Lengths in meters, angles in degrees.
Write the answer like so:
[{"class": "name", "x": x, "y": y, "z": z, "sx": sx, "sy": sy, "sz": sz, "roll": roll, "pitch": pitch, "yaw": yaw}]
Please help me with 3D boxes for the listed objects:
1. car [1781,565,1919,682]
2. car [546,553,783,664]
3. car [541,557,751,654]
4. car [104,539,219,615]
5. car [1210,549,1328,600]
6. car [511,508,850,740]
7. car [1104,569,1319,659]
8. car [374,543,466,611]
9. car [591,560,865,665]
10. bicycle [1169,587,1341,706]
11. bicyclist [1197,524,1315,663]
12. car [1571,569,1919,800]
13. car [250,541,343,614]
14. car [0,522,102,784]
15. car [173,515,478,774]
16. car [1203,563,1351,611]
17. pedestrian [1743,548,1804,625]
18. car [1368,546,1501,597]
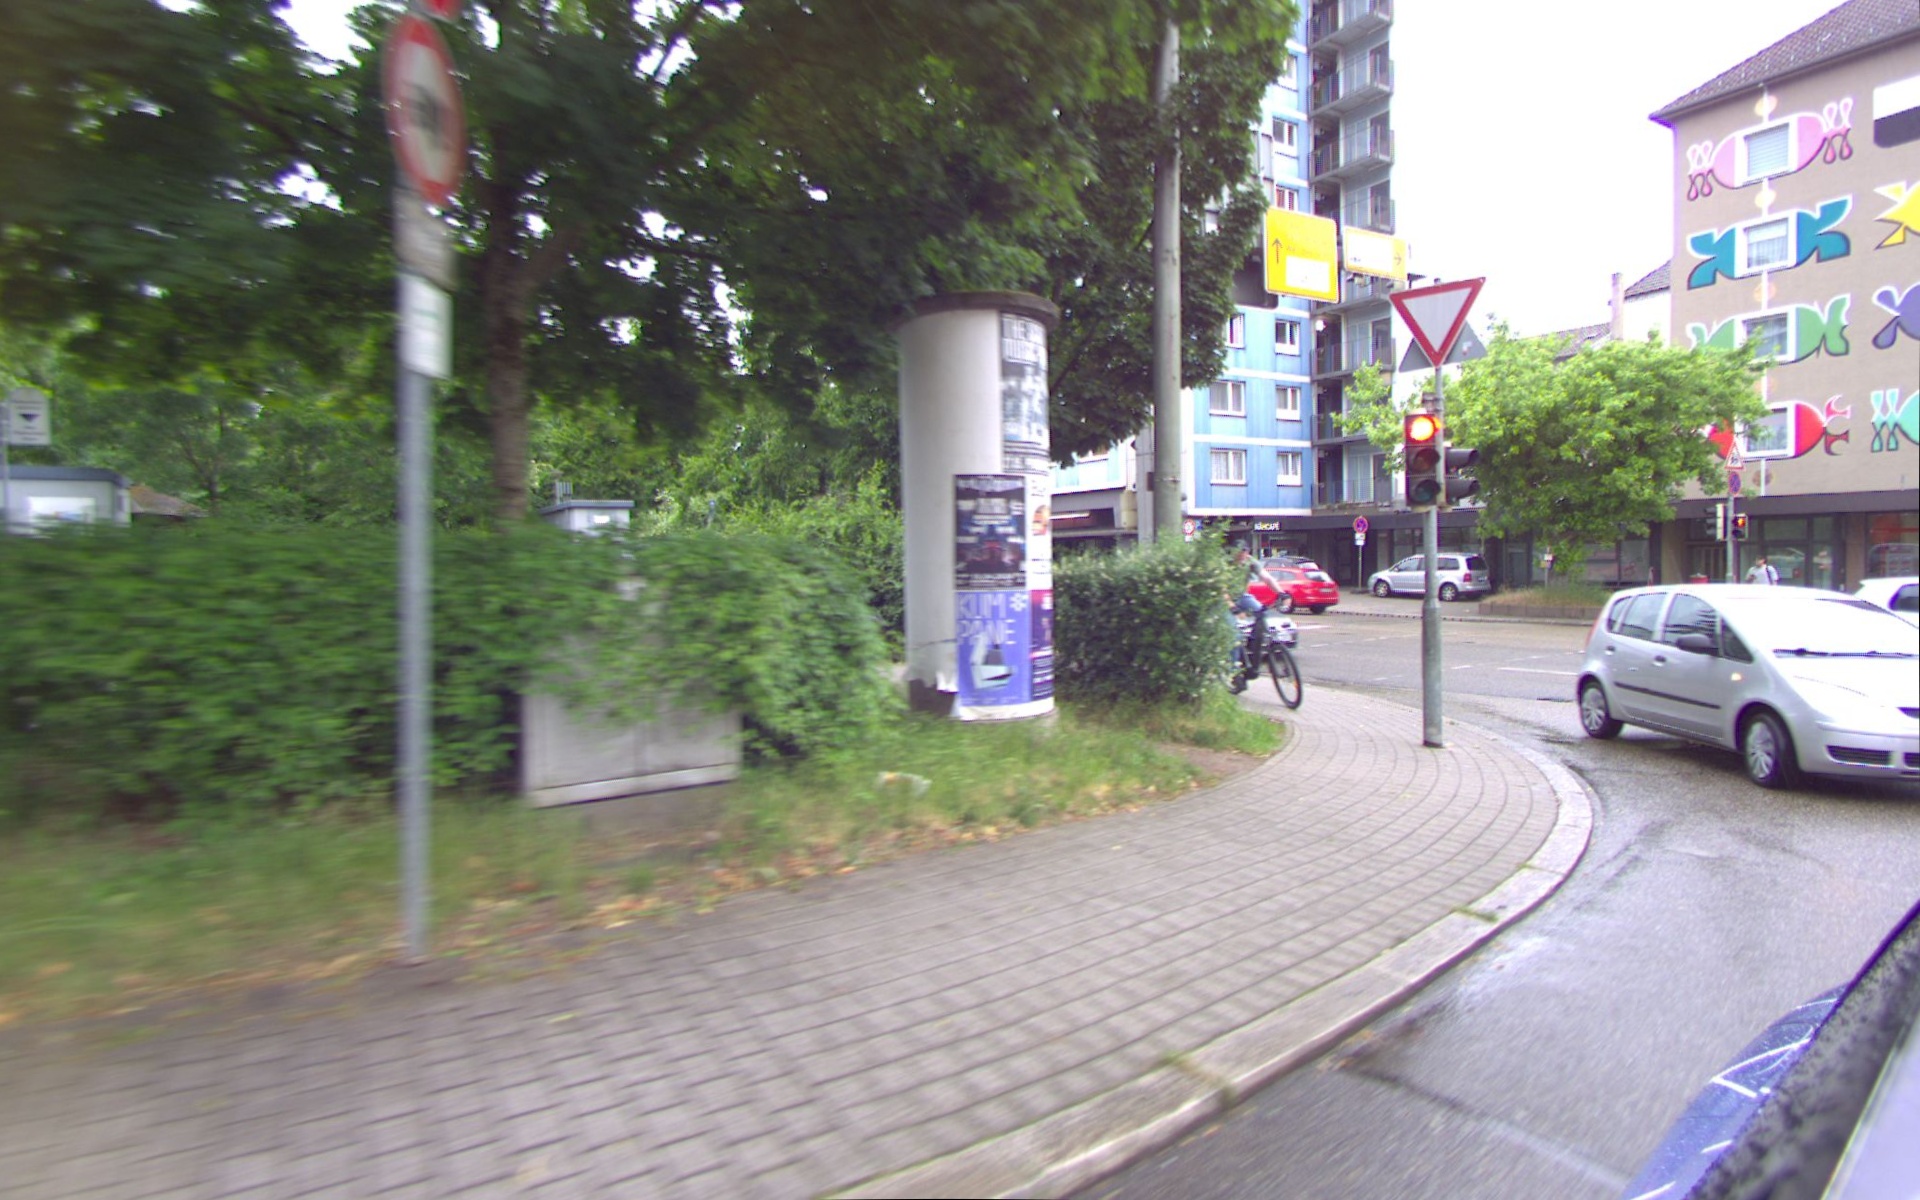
[{"class": "car", "x": 13.255, "y": 0.310, "z": 12.876, "sx": 1.655, "sy": 1.442, "sz": 4.040, "roll": -3, "pitch": 3, "yaw": -32}, {"class": "car", "x": -5.038, "y": 0.092, "z": 17.328, "sx": 3.628, "sy": 1.717, "sz": 1.639, "roll": -1, "pitch": 1, "yaw": -30}, {"class": "car", "x": -6.054, "y": 0.052, "z": 19.581, "sx": 3.628, "sy": 1.717, "sz": 1.639, "roll": -1, "pitch": 1, "yaw": -30}, {"class": "car", "x": -18.664, "y": -0.565, "z": 23.802, "sx": 1.765, "sy": 1.630, "sz": 4.002, "roll": -1, "pitch": 2, "yaw": -33}, {"class": "car", "x": 11.465, "y": -0.990, "z": 37.793, "sx": 1.619, "sy": 1.685, "sz": 4.190, "roll": -4, "pitch": 5, "yaw": -32}, {"class": "car", "x": -2.785, "y": 0.139, "z": 9.343, "sx": 1.606, "sy": 1.642, "sz": 4.211, "roll": 1, "pitch": 0, "yaw": -36}, {"class": "car", "x": 4.885, "y": 0.204, "z": 20.363, "sx": 1.654, "sy": 1.523, "sz": 4.509, "roll": -4, "pitch": 3, "yaw": -26}, {"class": "car", "x": -14.321, "y": -0.639, "z": 26.745, "sx": 1.765, "sy": 1.630, "sz": 4.002, "roll": -1, "pitch": 2, "yaw": -33}, {"class": "car", "x": -3.398, "y": 0.119, "z": 15.026, "sx": 3.631, "sy": 1.382, "sz": 1.638, "roll": -1, "pitch": 1, "yaw": -34}, {"class": "bicycle", "x": 3.377, "y": 0.487, "z": 11.848, "sx": 0.870, "sy": 1.202, "sz": 2.138, "roll": 3, "pitch": 1, "yaw": -16}, {"class": "bicyclist", "x": 3.425, "y": -0.078, "z": 11.781, "sx": 0.870, "sy": 1.508, "sz": 0.971, "roll": 3, "pitch": 1, "yaw": -16}, {"class": "car", "x": 7.013, "y": 0.519, "z": 8.577, "sx": 1.659, "sy": 1.523, "sz": 3.832, "roll": -1, "pitch": 1, "yaw": 7}, {"class": "car", "x": -16.317, "y": -0.589, "z": 24.914, "sx": 1.765, "sy": 1.630, "sz": 4.002, "roll": -1, "pitch": 2, "yaw": -33}, {"class": "car", "x": -7.754, "y": 0.283, "z": 7.653, "sx": 1.606, "sy": 1.642, "sz": 4.211, "roll": 1, "pitch": 0, "yaw": -36}, {"class": "car", "x": -5.161, "y": 0.226, "z": 8.056, "sx": 1.606, "sy": 1.501, "sz": 4.211, "roll": 1, "pitch": 0, "yaw": -36}, {"class": "car", "x": 10.271, "y": -0.492, "z": 33.134, "sx": 1.675, "sy": 1.441, "sz": 4.586, "roll": -1, "pitch": 3, "yaw": -33}, {"class": "pedestrian", "x": 19.456, "y": -0.332, "z": 24.218, "sx": 0.802, "sy": 1.795, "sz": 0.904, "roll": -1, "pitch": 2, "yaw": -33}, {"class": "car", "x": 17.332, "y": -1.093, "z": 37.149, "sx": 1.619, "sy": 1.685, "sz": 4.190, "roll": -4, "pitch": 5, "yaw": -32}]
